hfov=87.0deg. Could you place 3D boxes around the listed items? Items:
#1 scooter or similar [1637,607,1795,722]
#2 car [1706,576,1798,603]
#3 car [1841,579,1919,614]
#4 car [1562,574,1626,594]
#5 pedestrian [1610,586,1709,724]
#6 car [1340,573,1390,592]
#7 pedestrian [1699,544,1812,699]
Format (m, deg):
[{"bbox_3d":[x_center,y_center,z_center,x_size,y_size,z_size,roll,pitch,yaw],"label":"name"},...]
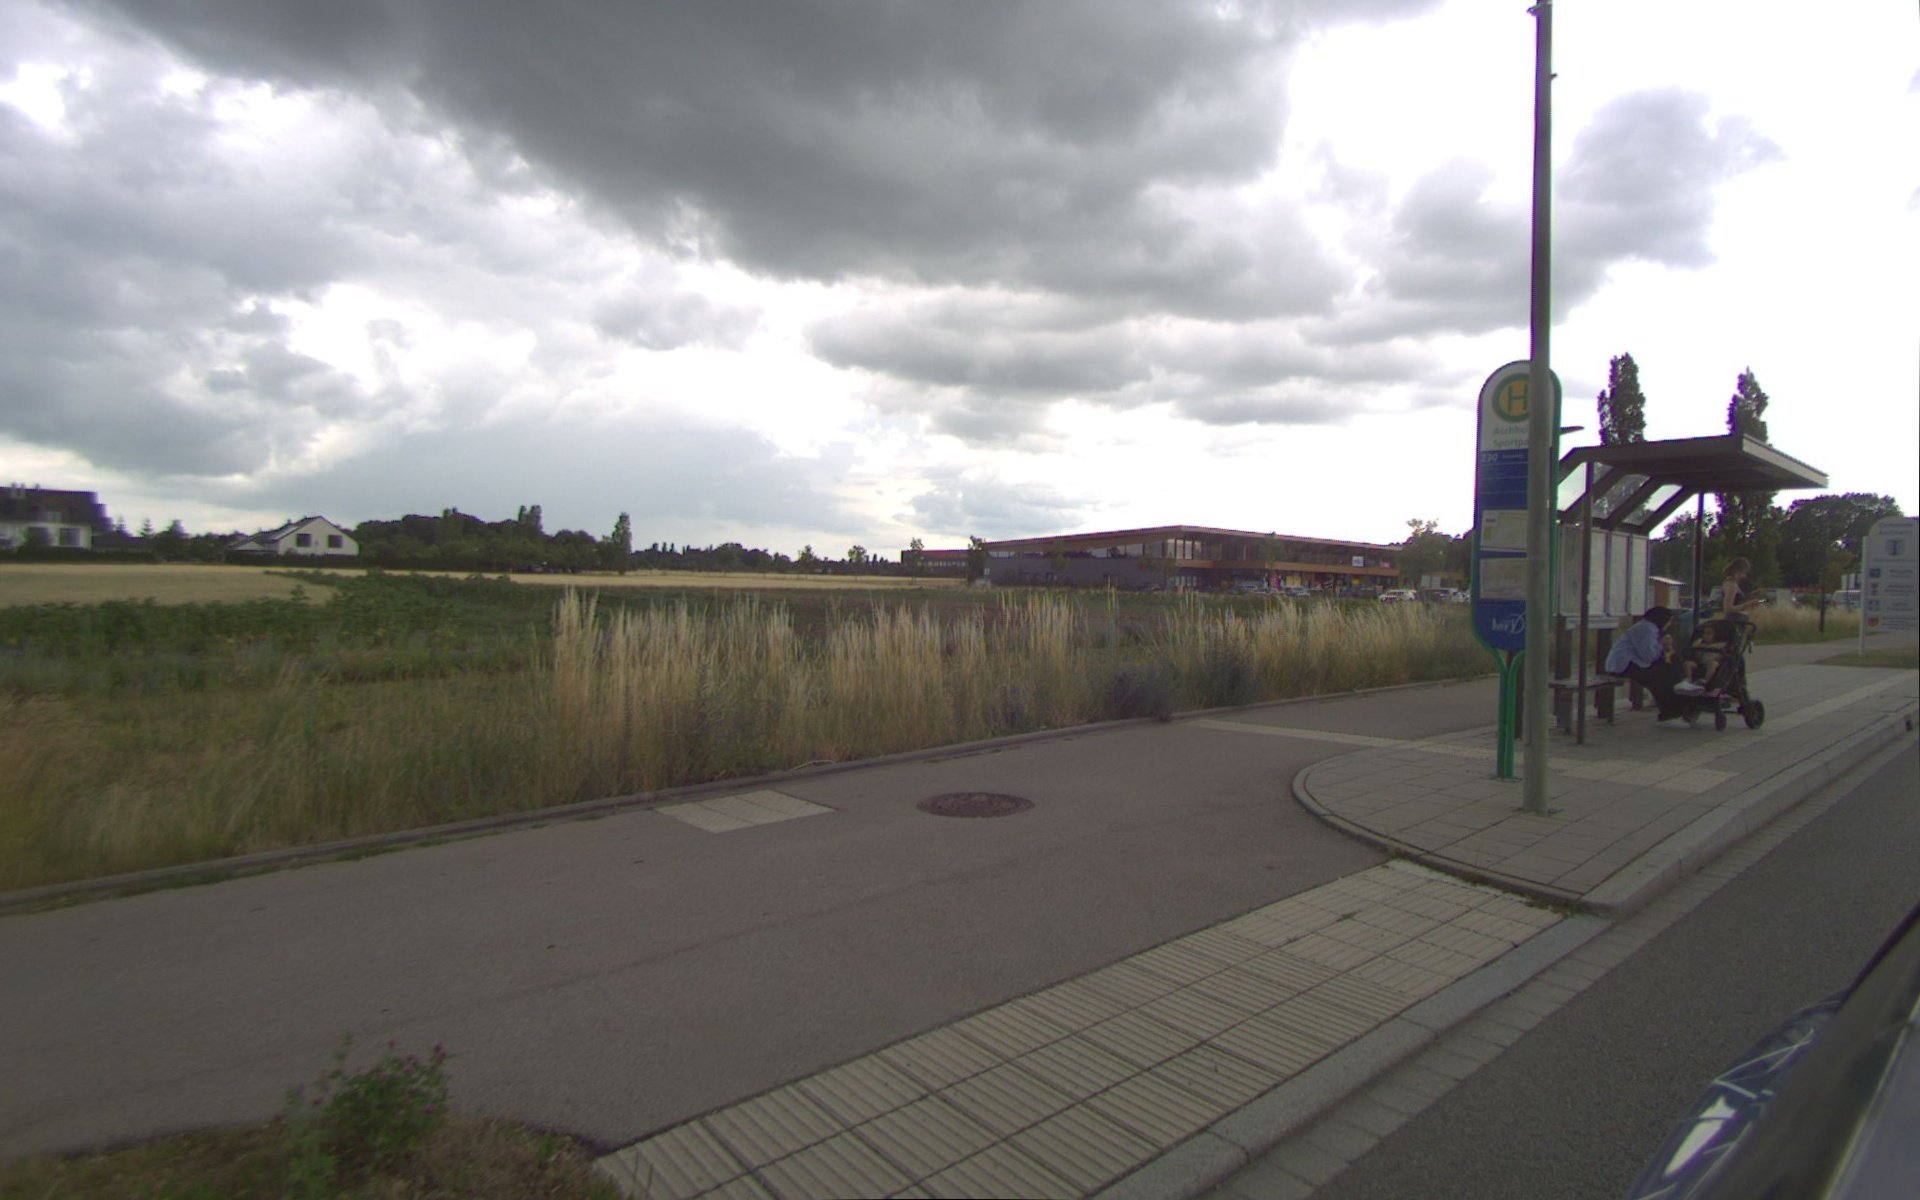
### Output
[{"bbox_3d":[7.506,0.617,10.083,1.039,1.075,0.709,-1,0,-4],"label":"scooter or similar"},{"bbox_3d":[60.988,-0.779,77.996,5.508,2.039,1.969,0,1,43],"label":"car"},{"bbox_3d":[56.181,-0.230,60.316,1.965,2.039,5.310,-1,1,-40],"label":"car"},{"bbox_3d":[66.792,-1.641,106.672,5.508,2.039,1.969,0,1,43],"label":"car"},{"bbox_3d":[6.989,0.523,10.125,0.495,1.319,0.667,0,0,-33],"label":"pedestrian"},{"bbox_3d":[44.810,-1.926,112.032,4.838,2.039,1.970,0,1,42],"label":"car"},{"bbox_3d":[9.741,0.247,12.416,0.763,1.815,0.785,-1,0,-20],"label":"pedestrian"}]
